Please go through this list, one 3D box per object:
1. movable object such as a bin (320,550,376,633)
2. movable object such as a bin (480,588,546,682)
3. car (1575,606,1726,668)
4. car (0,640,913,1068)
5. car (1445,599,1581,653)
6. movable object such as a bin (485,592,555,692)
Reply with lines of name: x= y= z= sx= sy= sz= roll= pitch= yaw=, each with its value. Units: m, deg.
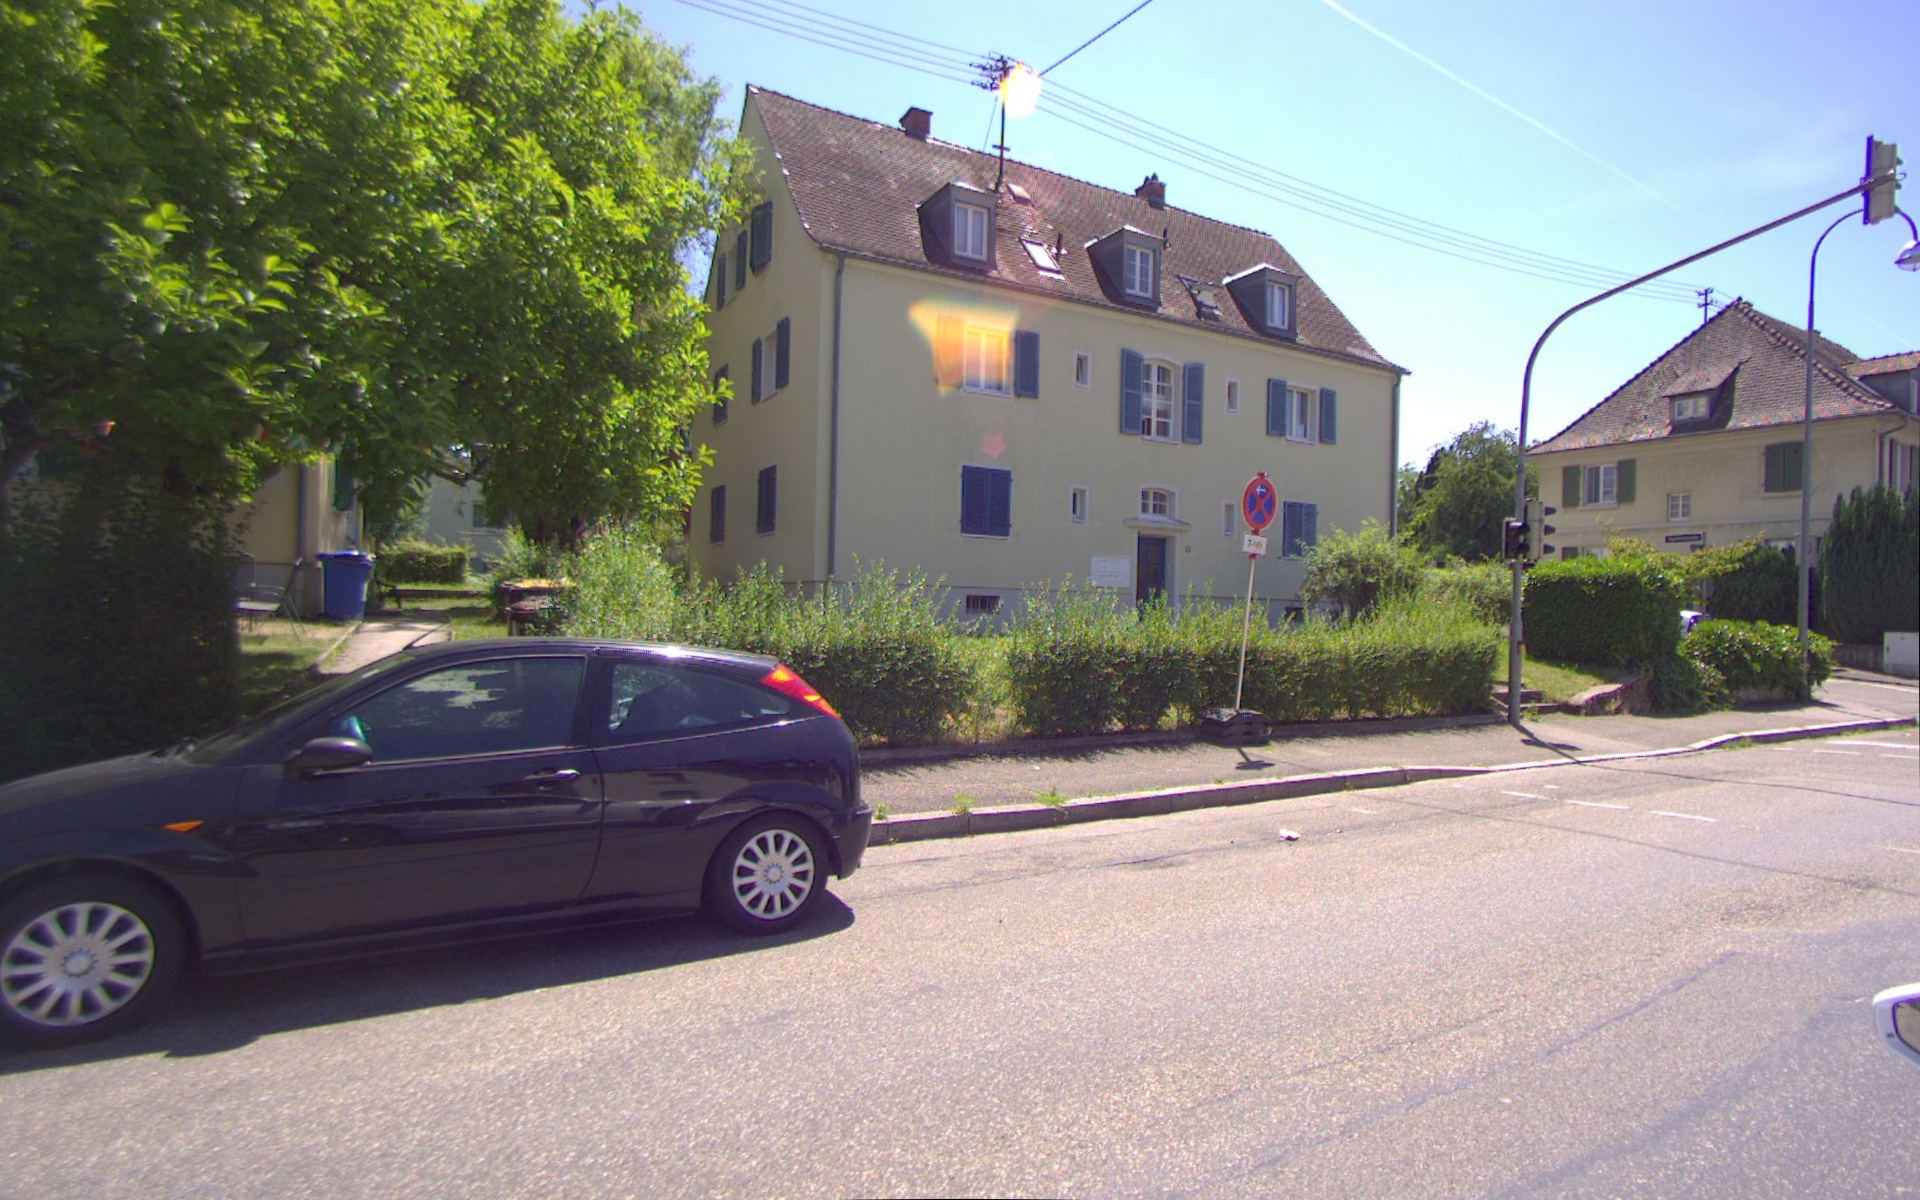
movable object such as a bin: x=-9.206 y=-0.123 z=15.127 sx=0.665 sy=1.212 sz=0.618 roll=1 pitch=0 yaw=-28
movable object such as a bin: x=-5.049 y=0.387 z=11.336 sx=0.615 sy=1.024 sz=0.669 roll=1 pitch=-1 yaw=-29
car: x=20.305 y=1.057 z=29.663 sx=1.712 sy=1.476 sz=3.192 roll=2 pitch=3 yaw=-25
car: x=-2.322 y=0.914 z=4.887 sx=3.880 sy=1.430 sz=1.673 roll=1 pitch=-3 yaw=-30
car: x=18.181 y=0.817 z=33.182 sx=1.725 sy=1.476 sz=3.569 roll=2 pitch=2 yaw=-25
movable object such as a bin: x=-4.690 y=0.433 z=10.701 sx=0.615 sy=1.024 sz=0.669 roll=1 pitch=-1 yaw=-29
